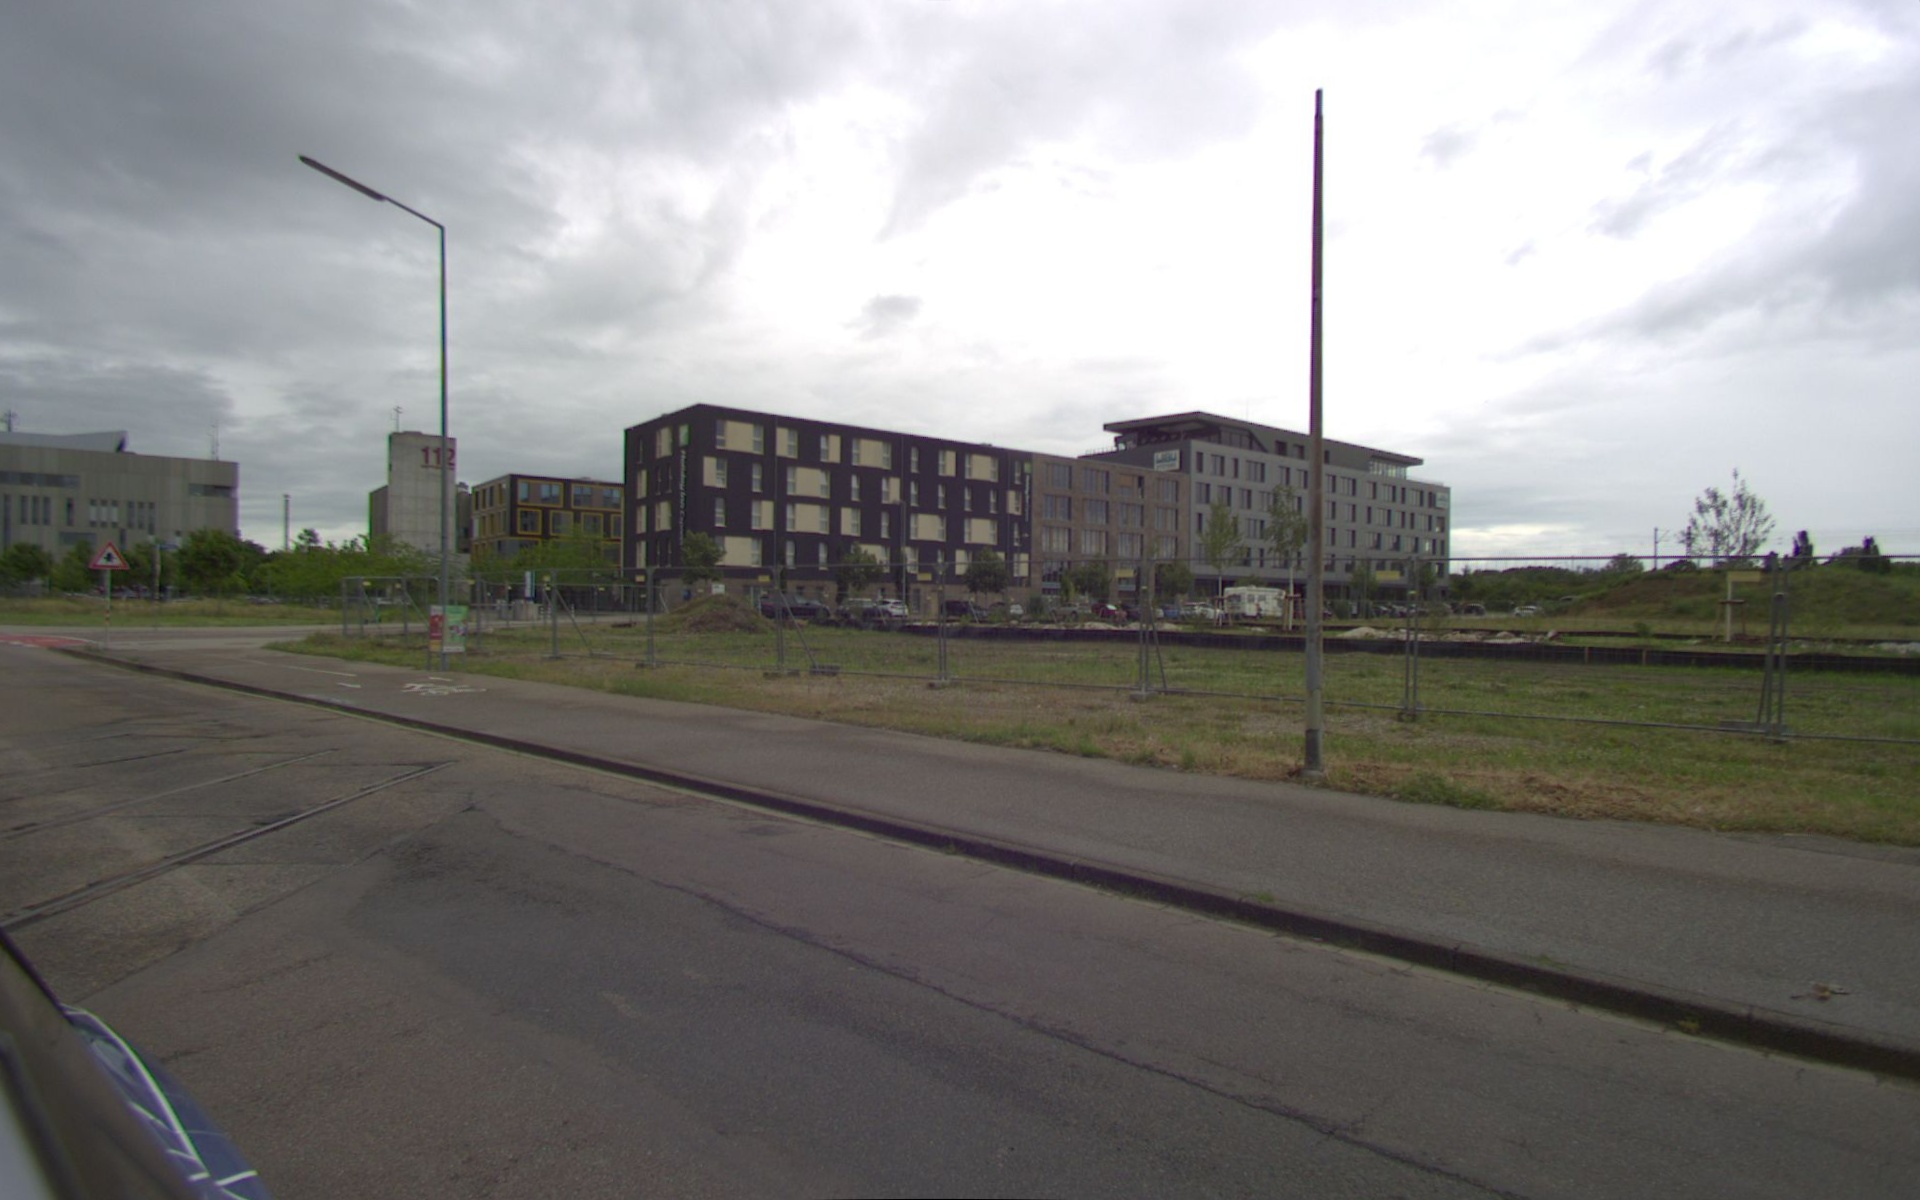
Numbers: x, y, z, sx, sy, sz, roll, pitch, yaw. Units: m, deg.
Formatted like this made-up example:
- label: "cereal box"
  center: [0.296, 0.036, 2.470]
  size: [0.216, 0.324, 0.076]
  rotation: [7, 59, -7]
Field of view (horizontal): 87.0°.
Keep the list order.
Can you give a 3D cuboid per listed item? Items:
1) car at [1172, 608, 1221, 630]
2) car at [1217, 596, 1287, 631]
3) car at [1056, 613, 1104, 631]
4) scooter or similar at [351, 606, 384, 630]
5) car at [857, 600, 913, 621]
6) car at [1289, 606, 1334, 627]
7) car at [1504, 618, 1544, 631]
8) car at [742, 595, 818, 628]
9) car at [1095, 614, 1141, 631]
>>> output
- label: "car"
  center: [19.705, 1.558, 84.234]
  size: [3.936, 1.760, 2.004]
  rotation: [0, -1, -39]
- label: "car"
  center: [25.857, 1.159, 89.429]
  size: [6.471, 2.979, 2.719]
  rotation: [0, -1, -39]
- label: "car"
  center: [10.388, 1.919, 87.721]
  size: [1.718, 1.469, 4.005]
  rotation: [1, 0, -42]
- label: "scooter or similar"
  center: [-31.396, 0.945, 53.629]
  size: [0.568, 1.177, 1.455]
  rotation: [0, 1, 25]
- label: "car"
  center: [-5.680, 0.782, 76.394]
  size: [4.154, 1.529, 1.972]
  rotation: [-1, -1, 43]
- label: "car"
  center: [32.876, 1.529, 94.638]
  size: [4.454, 1.852, 2.003]
  rotation: [1, -1, -40]
- label: "car"
  center: [70.053, 3.009, 125.739]
  size: [4.000, 1.630, 1.972]
  rotation: [-1, -1, 43]
- label: "car"
  center: [-10.481, 0.679, 59.033]
  size: [3.936, 1.836, 2.004]
  rotation: [0, -1, -39]
- label: "car"
  center: [14.552, 2.085, 93.307]
  size: [1.718, 1.469, 4.005]
  rotation: [1, 0, -42]
